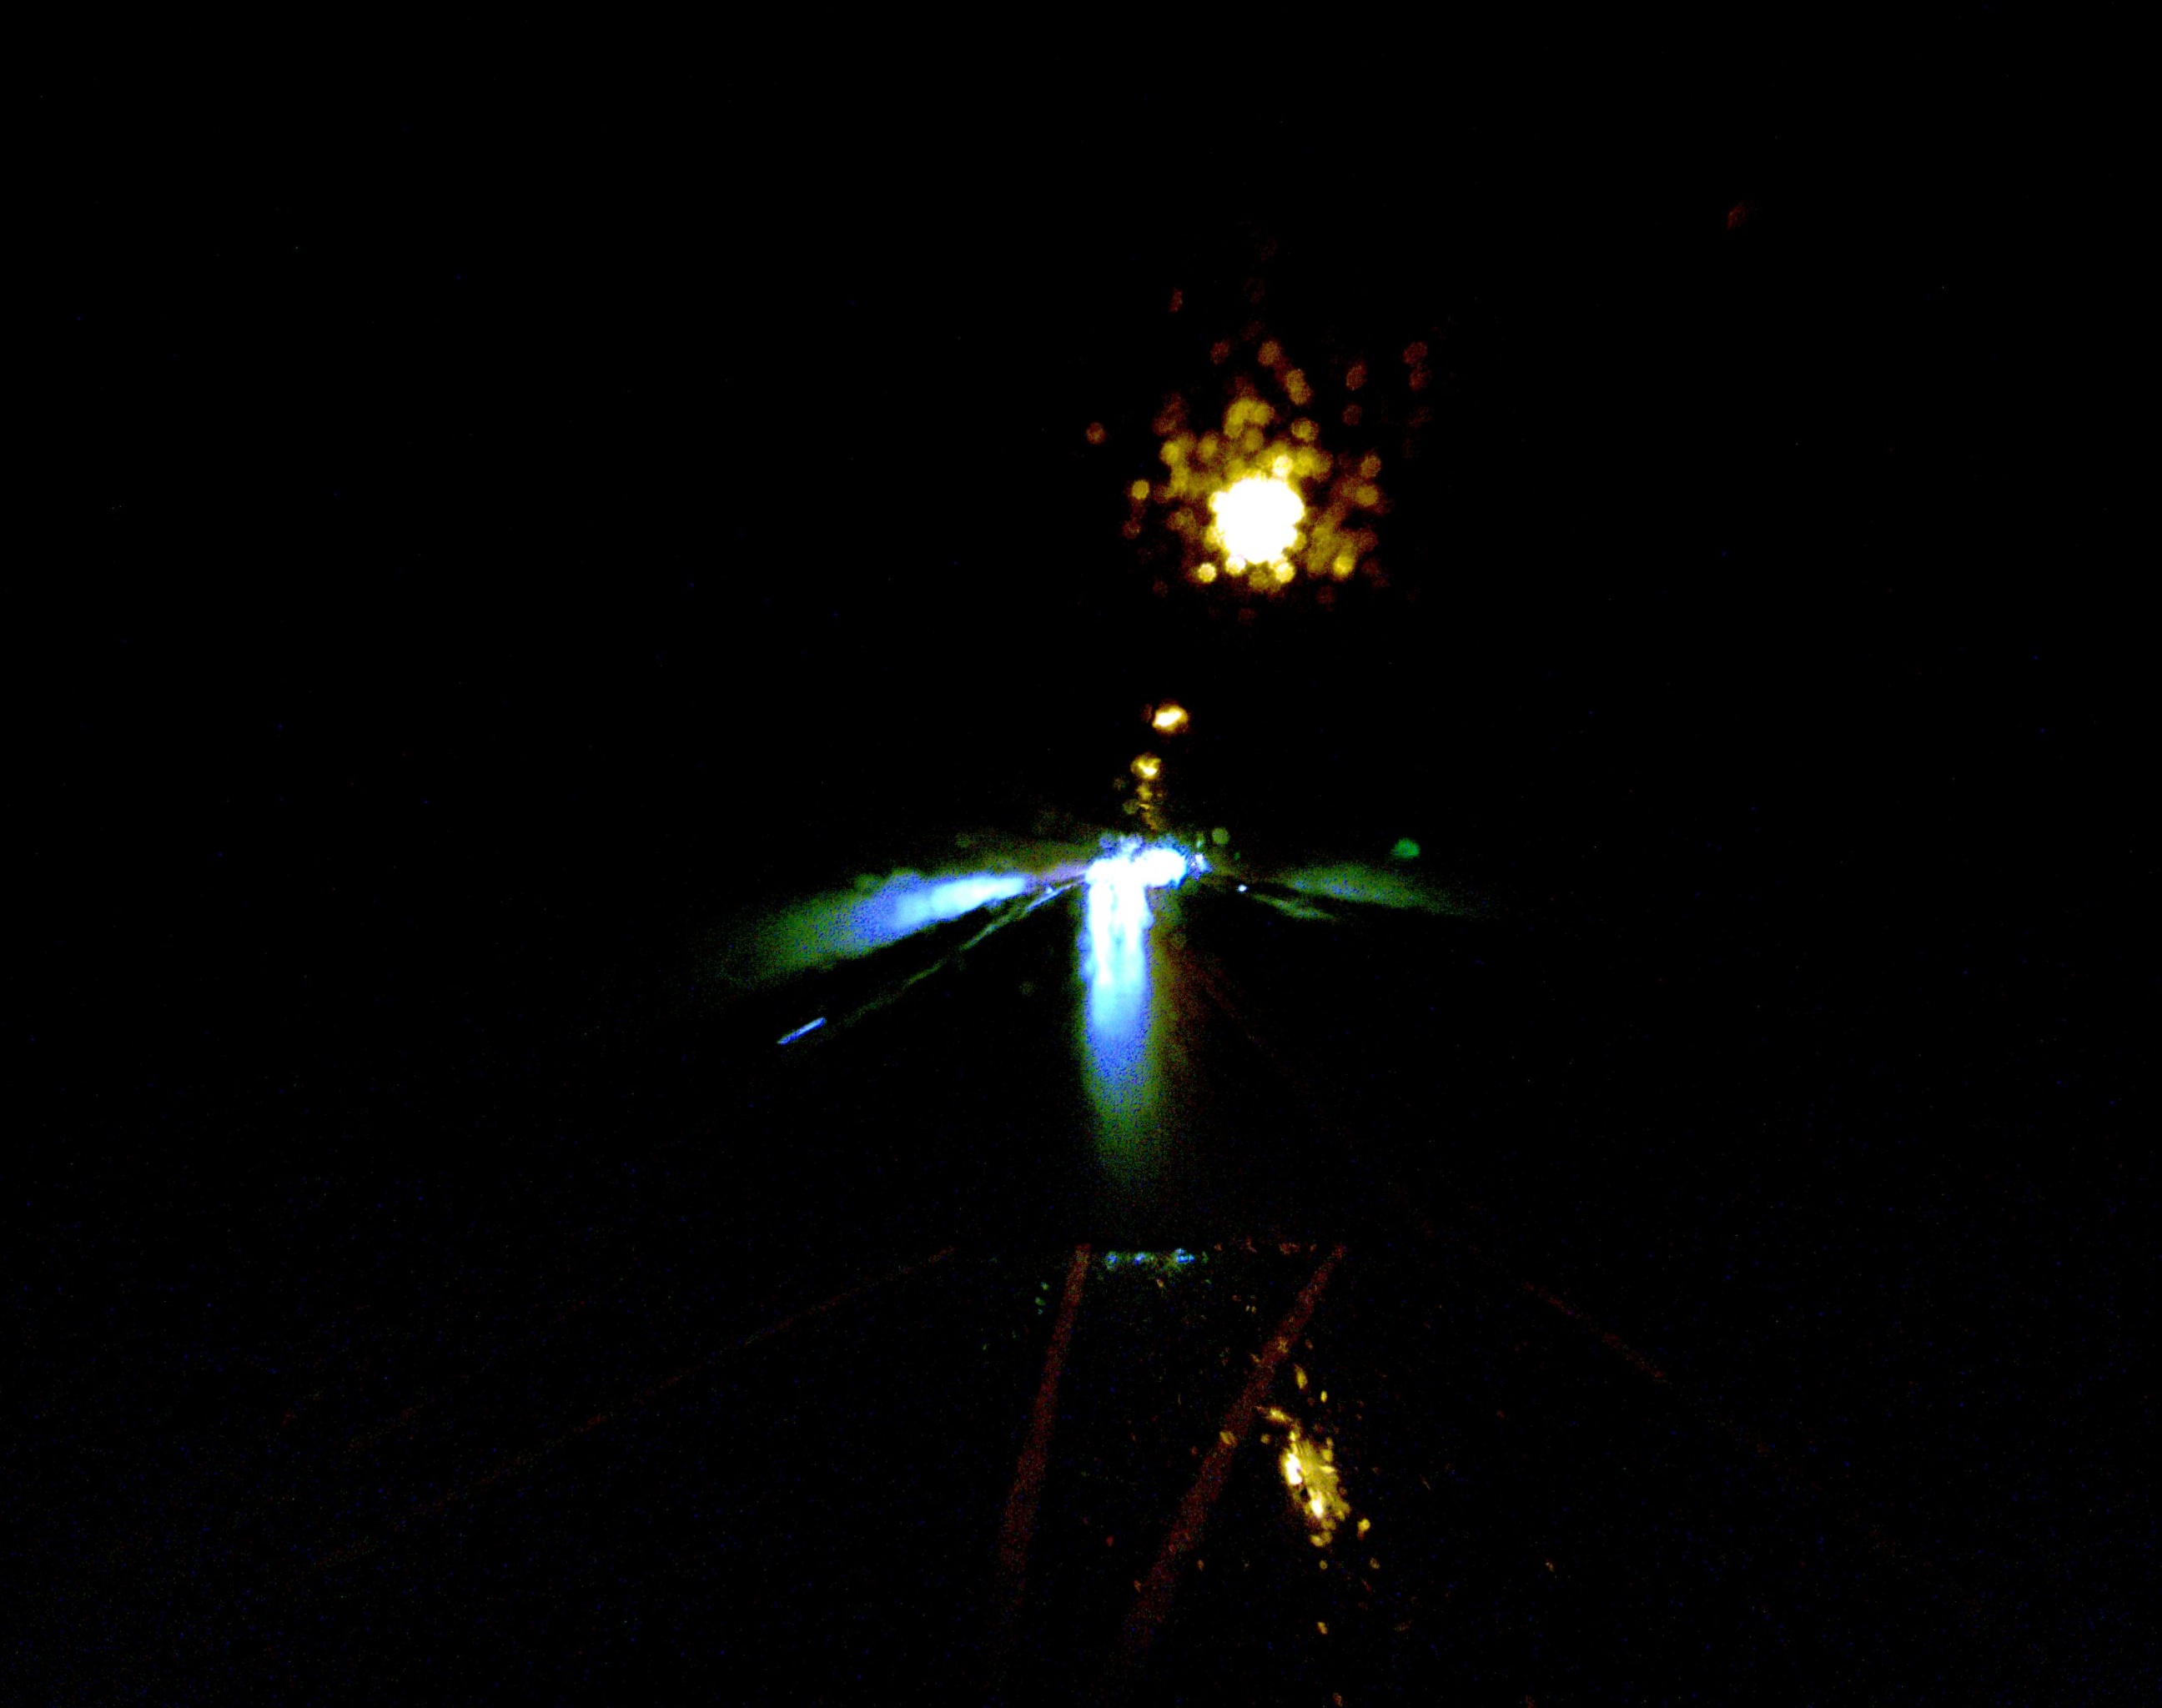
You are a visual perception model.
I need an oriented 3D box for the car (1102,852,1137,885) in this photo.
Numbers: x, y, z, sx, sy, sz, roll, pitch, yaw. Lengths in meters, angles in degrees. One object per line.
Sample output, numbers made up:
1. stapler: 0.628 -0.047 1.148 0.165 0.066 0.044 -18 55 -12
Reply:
1. car: 2.152 0.763 41.826 1.729 1.595 4.001 -3 1 4
